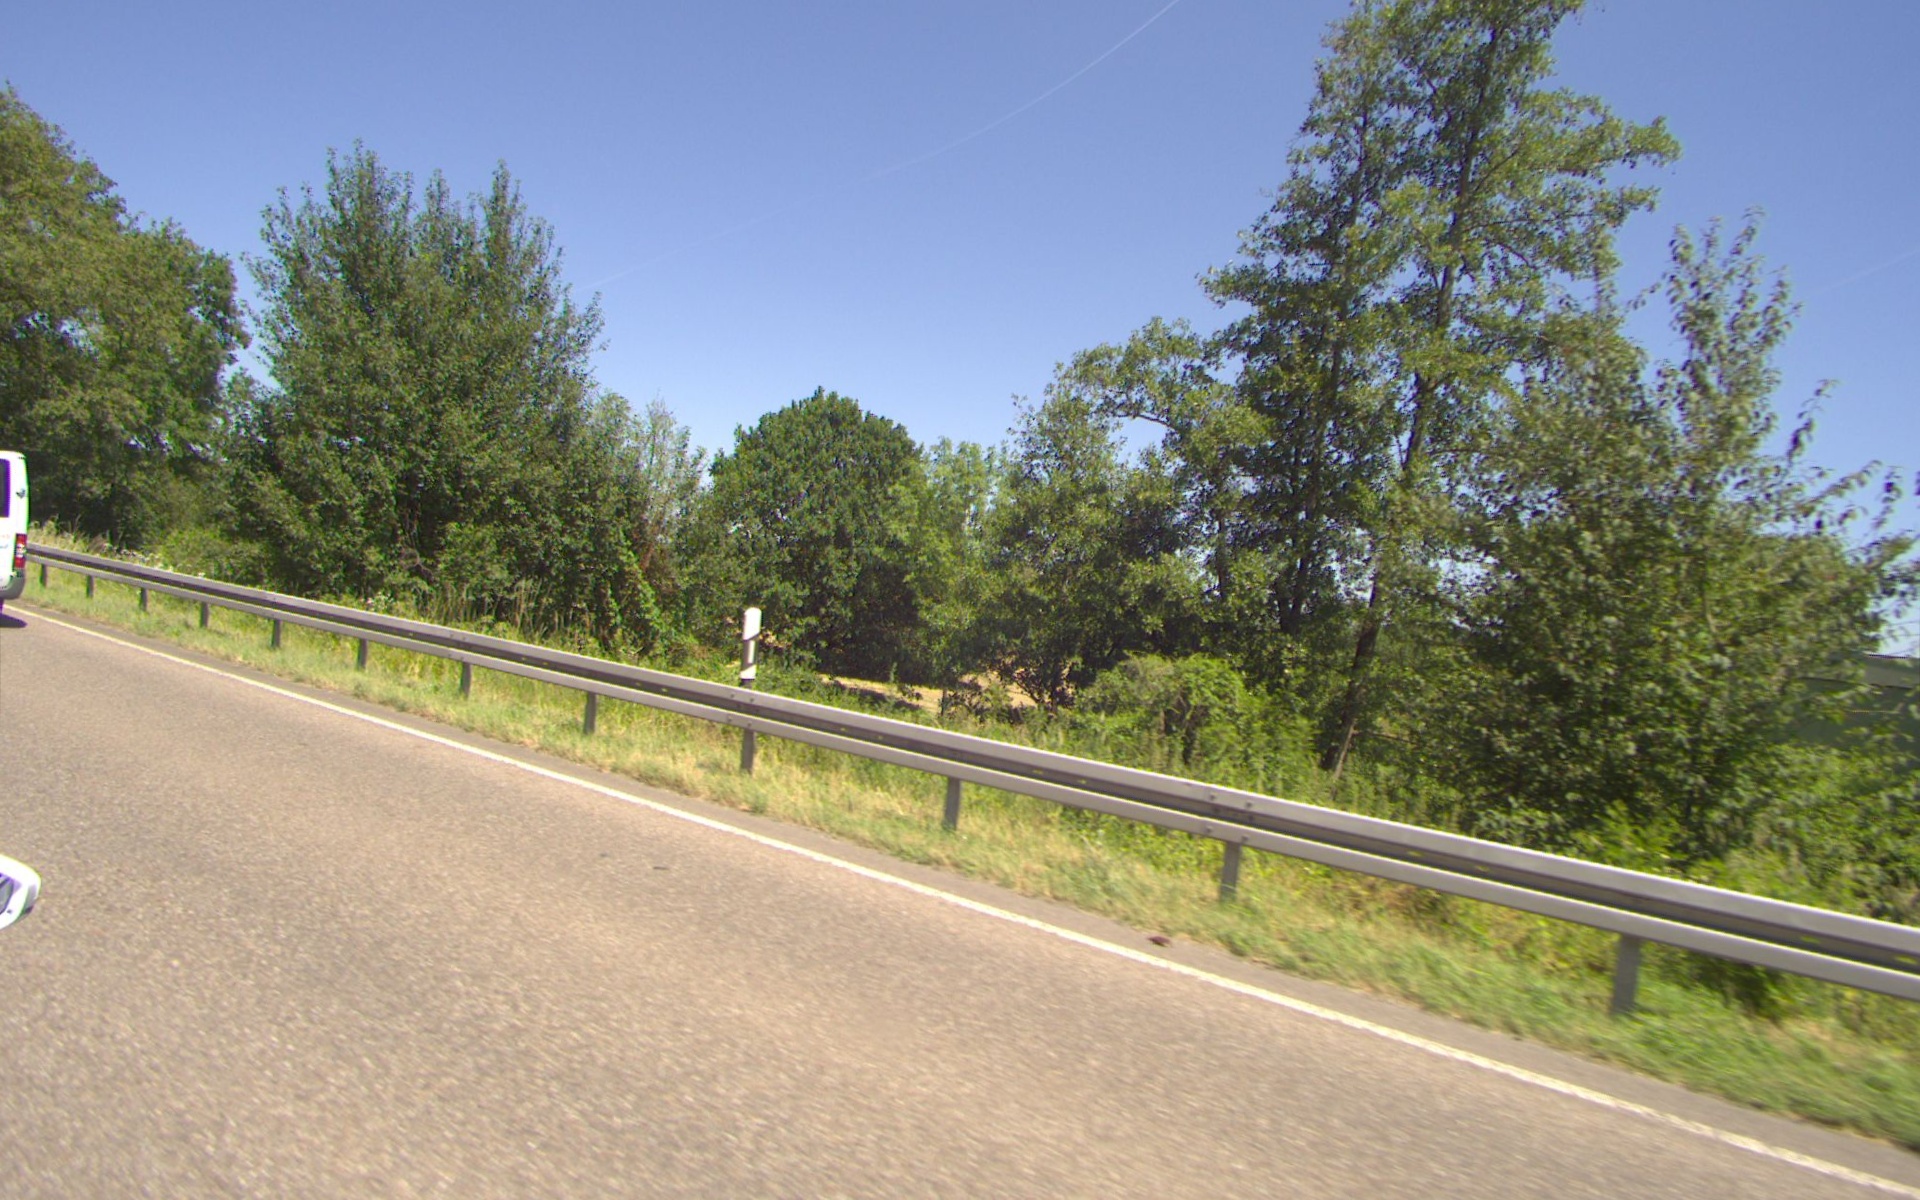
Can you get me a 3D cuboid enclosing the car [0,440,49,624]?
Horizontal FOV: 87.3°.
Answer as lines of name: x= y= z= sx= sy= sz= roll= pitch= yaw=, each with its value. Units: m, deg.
car: x=-13.027 y=-0.995 z=11.795 sx=4.949 sy=2.014 sz=2.008 roll=6 pitch=1 yaw=30
